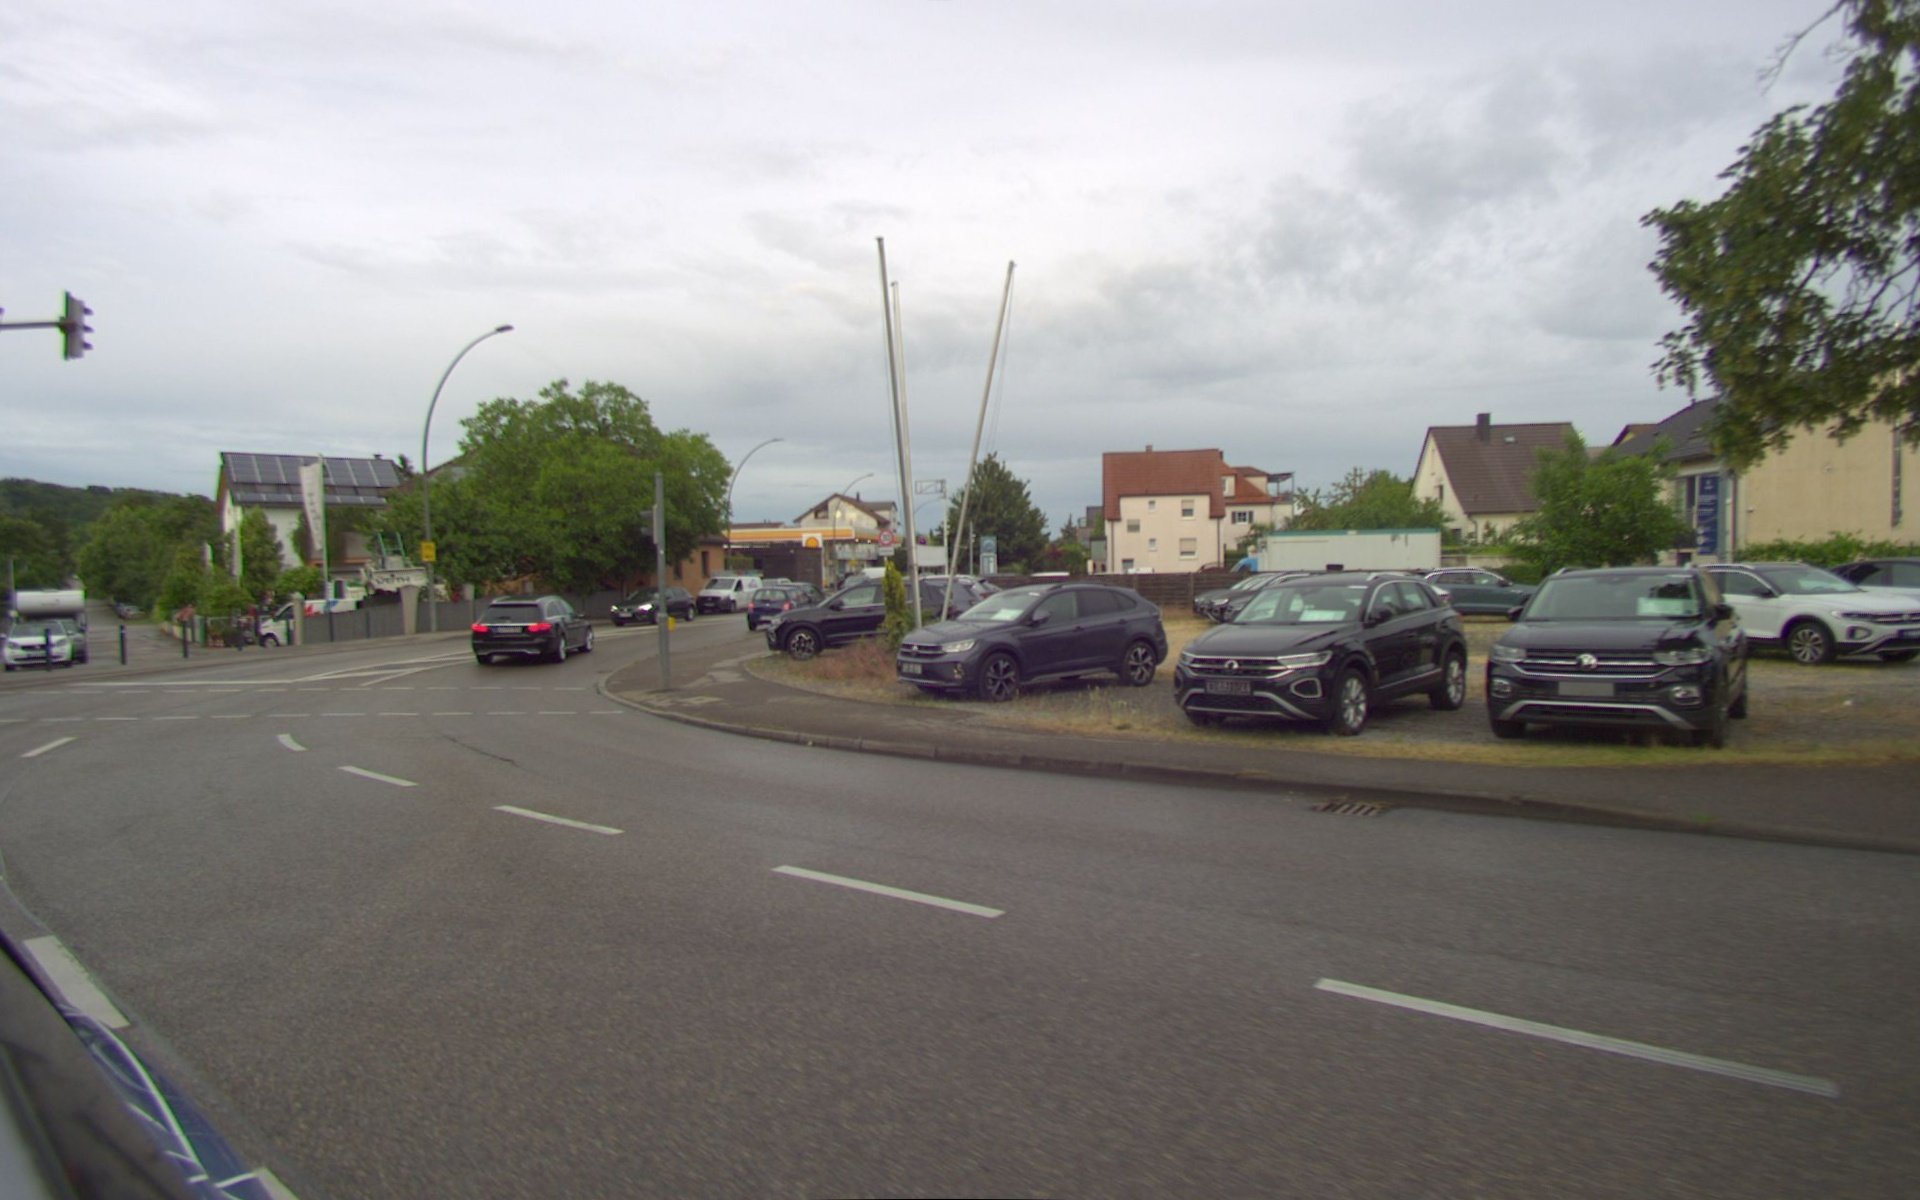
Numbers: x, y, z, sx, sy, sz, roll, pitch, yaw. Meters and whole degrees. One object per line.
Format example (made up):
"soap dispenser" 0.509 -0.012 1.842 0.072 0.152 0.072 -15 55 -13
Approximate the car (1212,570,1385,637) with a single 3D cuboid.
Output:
"car" 8.061 0.079 24.319 3.597 1.385 1.516 -2 0 4

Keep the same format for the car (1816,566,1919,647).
"car" 16.718 0.084 16.550 1.686 1.324 4.007 -2 0 -8

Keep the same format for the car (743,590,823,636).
"car" -6.141 0.402 35.508 1.614 1.444 3.672 -1 1 10

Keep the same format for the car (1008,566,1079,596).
"car" 5.368 -1.217 65.329 4.514 1.803 1.895 -1 1 5

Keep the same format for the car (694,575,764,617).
"car" -11.932 -0.215 52.670 1.764 2.044 4.738 -2 0 11

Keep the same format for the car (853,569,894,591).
"car" -10.710 -2.482 125.040 4.724 2.539 2.253 -1 1 -13

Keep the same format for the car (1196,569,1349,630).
"car" 8.331 -0.006 27.222 3.597 1.439 1.590 -2 0 4

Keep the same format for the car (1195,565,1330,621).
"car" 8.859 -0.207 29.916 3.606 1.439 1.586 -2 0 12

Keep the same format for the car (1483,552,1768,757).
"car" 6.433 0.374 9.588 1.756 1.521 3.947 -2 0 40

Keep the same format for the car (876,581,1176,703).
"car" 0.979 0.527 14.252 3.915 1.502 1.762 -1 -1 -33

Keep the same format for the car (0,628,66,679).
"car" -29.961 1.699 32.598 1.702 1.483 2.746 -3 0 -42

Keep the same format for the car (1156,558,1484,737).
"car" 3.994 0.438 10.883 3.941 1.567 1.758 0 -2 -45

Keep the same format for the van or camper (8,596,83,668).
"van or camper" -41.463 1.428 46.008 2.290 3.017 5.958 -3 0 -41

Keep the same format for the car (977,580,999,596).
"car" 2.526 -1.104 90.164 1.533 1.413 3.588 0 1 8

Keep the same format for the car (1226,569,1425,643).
"car" 7.676 0.101 21.561 3.732 1.475 1.586 1 1 11

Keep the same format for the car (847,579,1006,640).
"car" -0.877 0.231 27.325 3.958 1.452 1.797 -2 1 11

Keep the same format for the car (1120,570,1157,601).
"car" 11.436 -0.954 65.222 1.975 1.945 5.045 0 1 6

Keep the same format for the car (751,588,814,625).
"car" -7.739 0.316 44.443 1.707 1.467 3.994 -3 -1 5

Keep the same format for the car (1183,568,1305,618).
"car" 9.130 -0.220 32.802 3.605 1.439 1.587 -2 0 11

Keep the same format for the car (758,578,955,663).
"car" -2.104 0.412 21.149 3.902 1.542 1.623 -3 0 -1

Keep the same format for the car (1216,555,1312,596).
"car" 19.561 -1.581 65.435 5.623 2.392 2.042 -2 1 9

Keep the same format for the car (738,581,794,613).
"car" -11.123 -0.194 58.369 1.850 1.677 4.310 -2 1 8

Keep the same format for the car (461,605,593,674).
"car" -9.784 0.829 23.200 1.685 1.402 4.357 -1 0 -8

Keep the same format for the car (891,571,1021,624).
"car" -0.099 -0.079 33.203 3.958 1.555 1.797 -2 1 11

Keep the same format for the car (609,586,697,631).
"car" -11.732 0.286 38.950 1.757 1.573 3.992 -2 1 6

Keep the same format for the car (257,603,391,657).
"car" -24.580 1.146 39.157 4.091 1.884 1.994 -2 0 10

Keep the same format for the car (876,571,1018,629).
"car" -0.355 -0.005 30.435 3.958 1.555 1.797 -2 1 11

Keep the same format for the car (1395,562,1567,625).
"car" 14.652 -0.187 28.675 3.960 1.563 1.746 -2 0 13

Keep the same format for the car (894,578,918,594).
"car" -5.357 -1.397 100.175 1.642 1.412 3.793 -1 1 8

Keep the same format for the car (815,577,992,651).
"car" -1.301 0.331 24.131 3.914 1.542 1.686 -2 0 9

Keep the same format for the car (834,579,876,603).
"car" -8.133 -0.700 78.682 2.074 1.674 4.546 -2 0 9

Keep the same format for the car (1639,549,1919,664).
"car" 13.260 0.073 16.199 1.686 1.567 4.007 -2 0 -8
